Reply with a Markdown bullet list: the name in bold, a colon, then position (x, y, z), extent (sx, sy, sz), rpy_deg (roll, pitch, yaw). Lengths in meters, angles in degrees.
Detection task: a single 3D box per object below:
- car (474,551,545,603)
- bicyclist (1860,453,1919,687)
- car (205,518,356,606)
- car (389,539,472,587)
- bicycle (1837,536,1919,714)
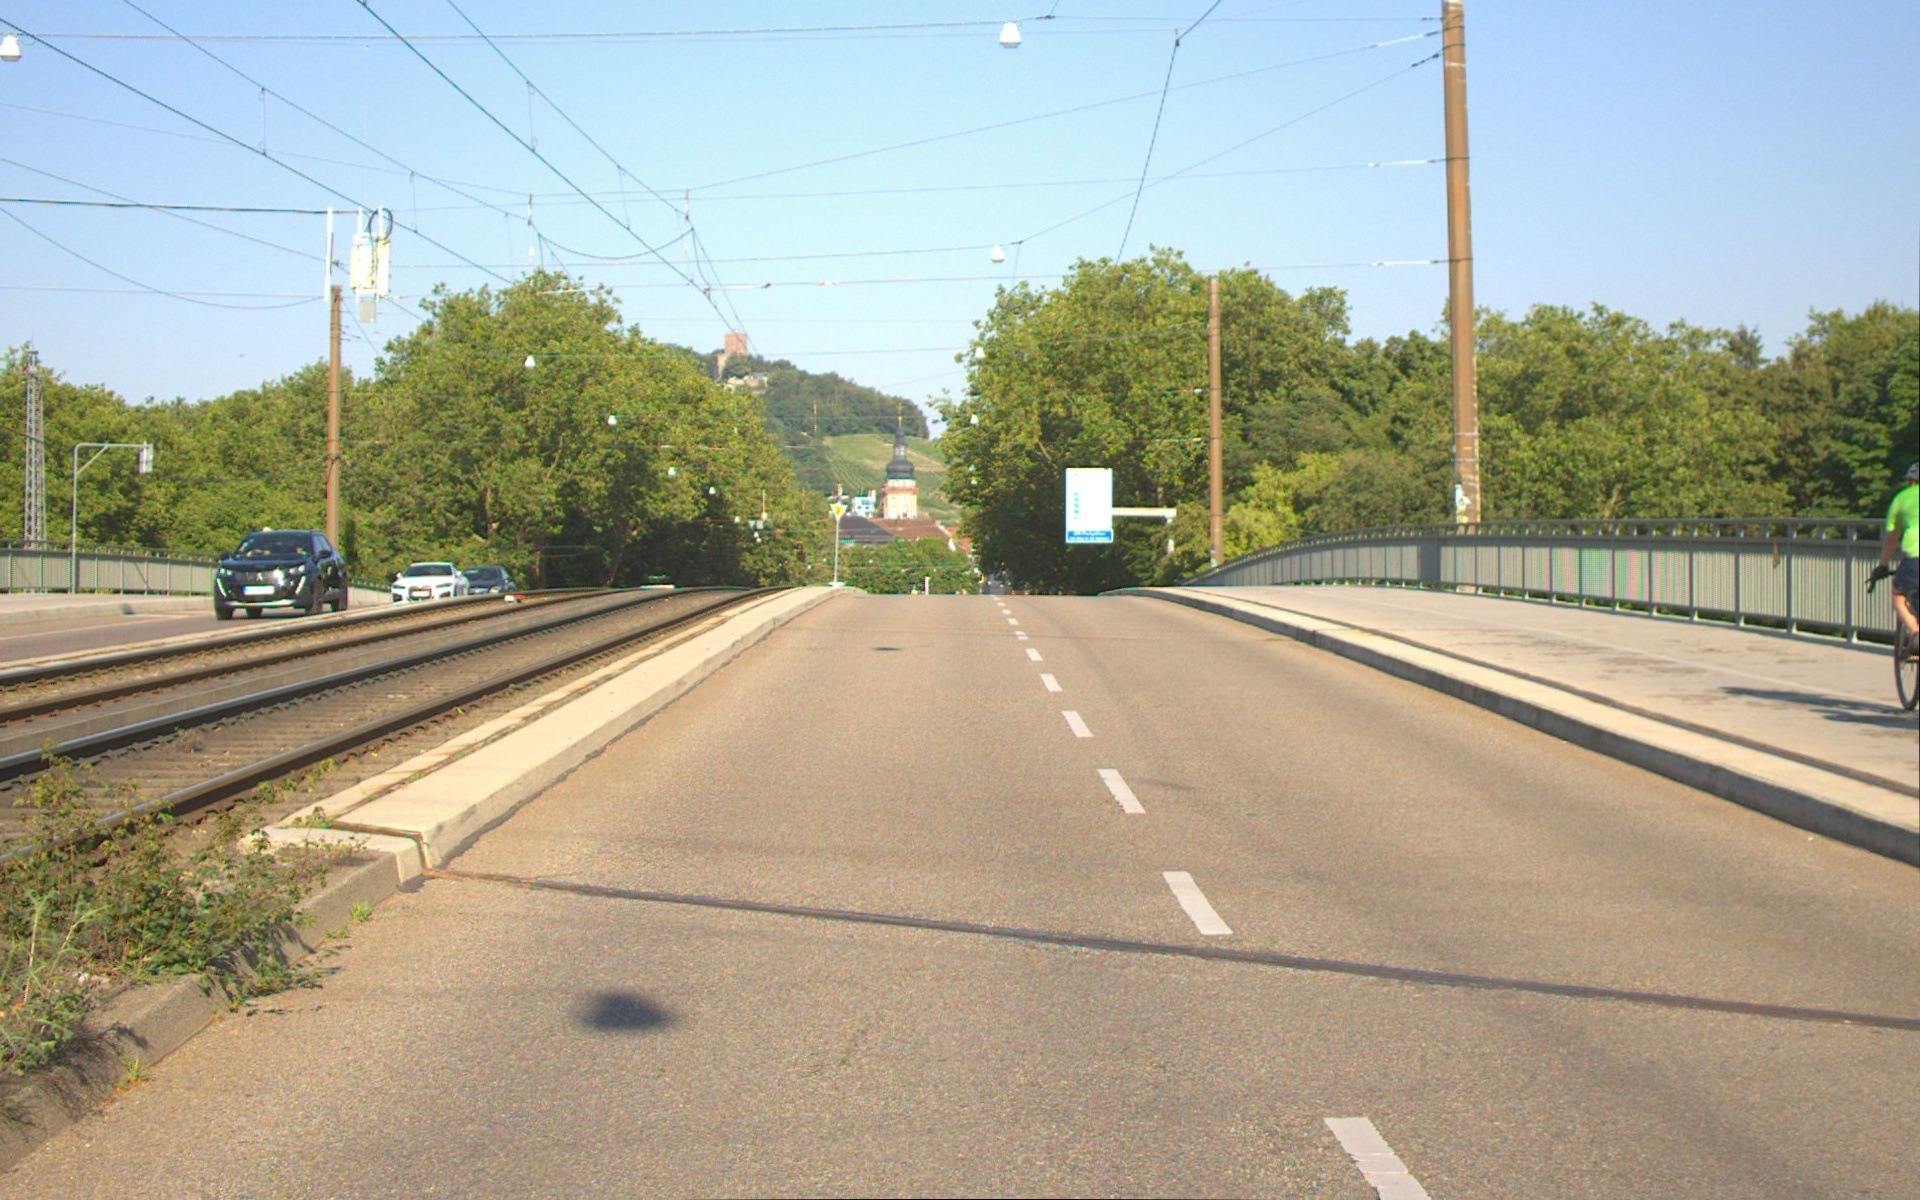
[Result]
- **car**: position (-14.689, -0.762, 112.279), extent (1.779, 1.645, 4.447), rpy_deg (0, 1, 0)
- **bicyclist**: position (6.350, -0.200, 22.525), extent (0.625, 1.503, 1.006), rpy_deg (0, 1, 0)
- **car**: position (-11.907, -0.668, 60.453), extent (1.849, 1.497, 4.219), rpy_deg (0, 1, 0)
- **car**: position (-15.465, -1.092, 100.572), extent (1.684, 1.351, 4.920), rpy_deg (0, 1, 0)
- **bicycle**: position (6.350, 0.140, 22.485), extent (0.625, 1.118, 2.260), rpy_deg (0, 1, -1)
